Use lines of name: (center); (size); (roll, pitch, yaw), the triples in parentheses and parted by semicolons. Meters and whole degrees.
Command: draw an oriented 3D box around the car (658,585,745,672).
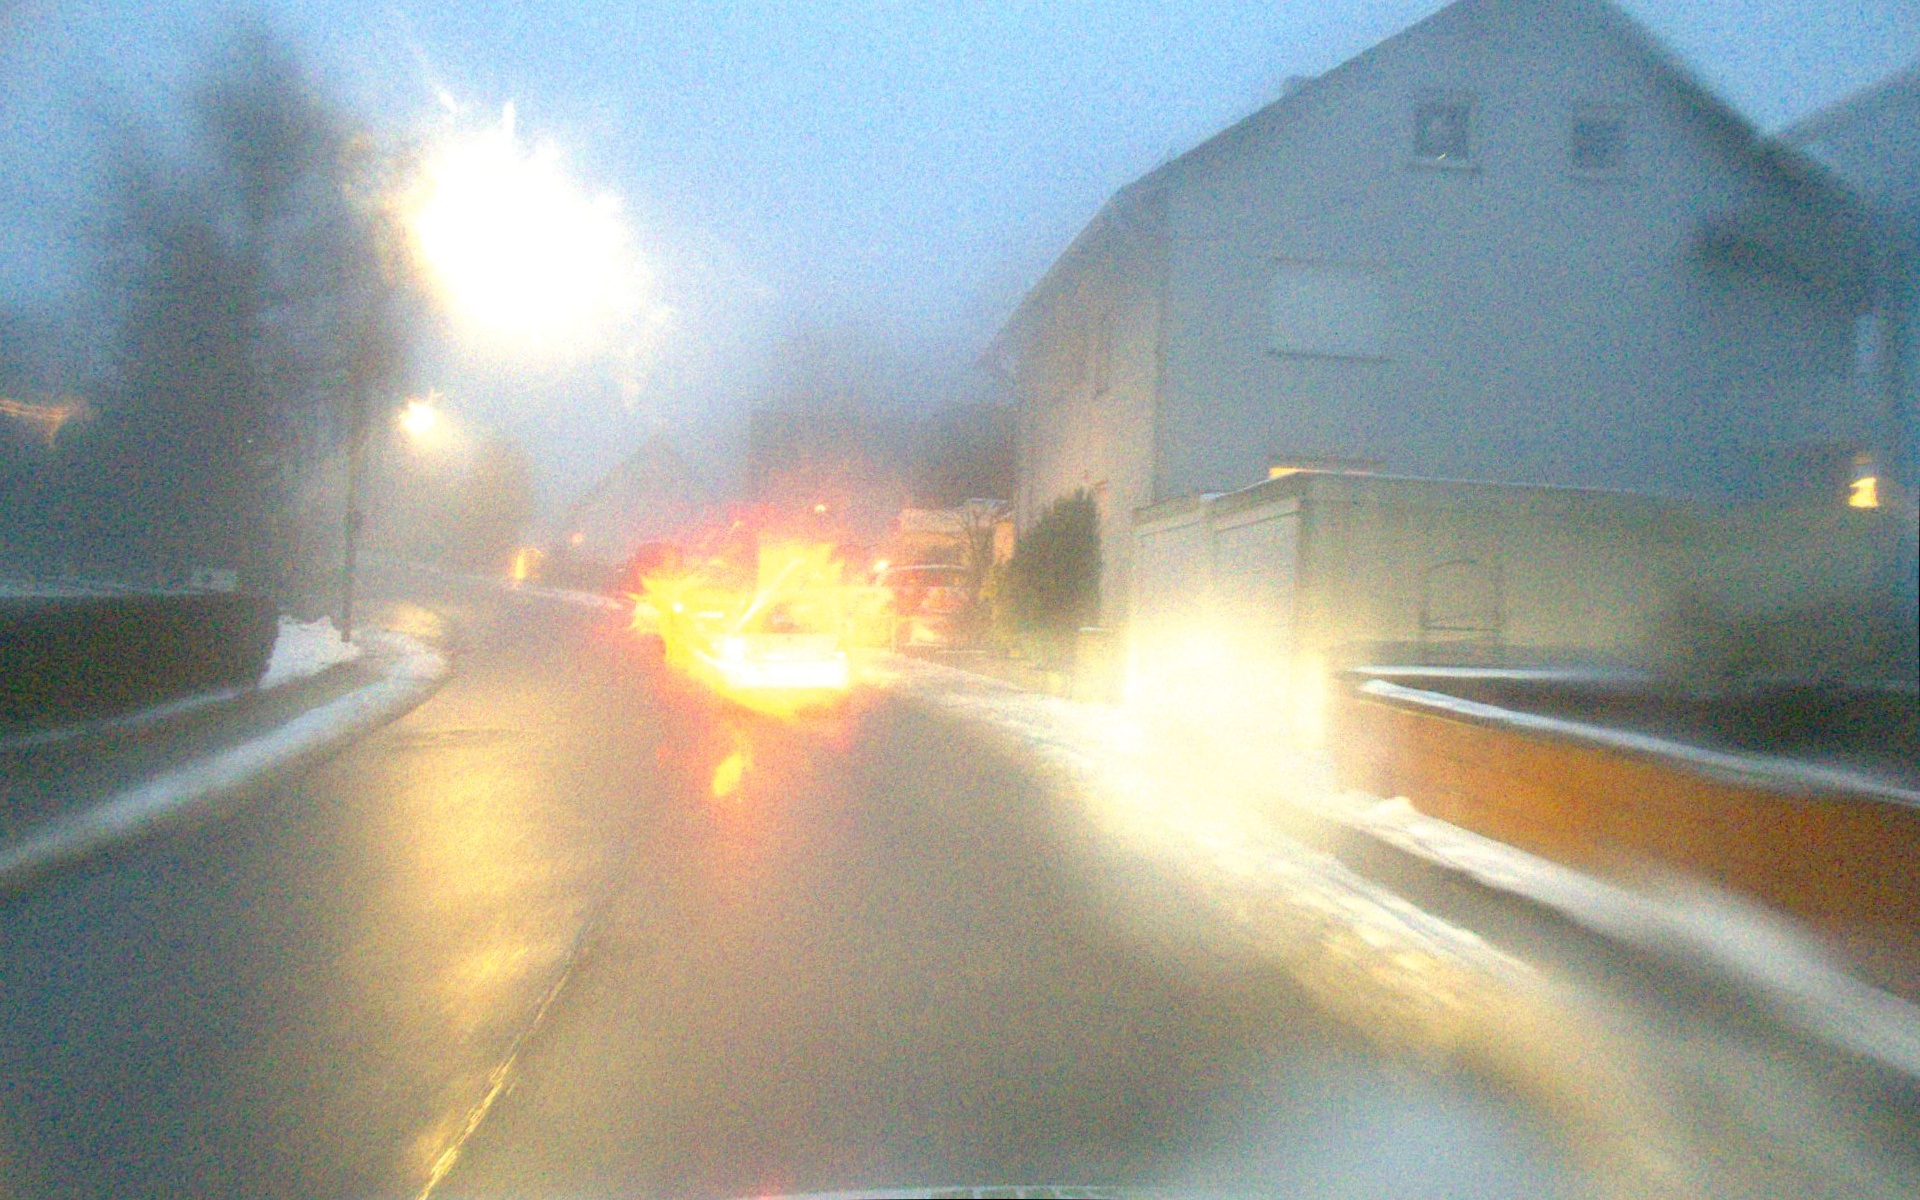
car: (-5.425, 0.597, 34.535); (1.615, 1.624, 3.690); (3, -2, -10)

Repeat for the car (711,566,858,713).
car: (-2.301, 0.505, 21.093); (1.615, 1.624, 3.692); (3, -2, -8)

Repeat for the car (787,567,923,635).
car: (-3.157, 0.060, 49.239); (3.910, 1.848, 1.997); (2, -2, -6)
